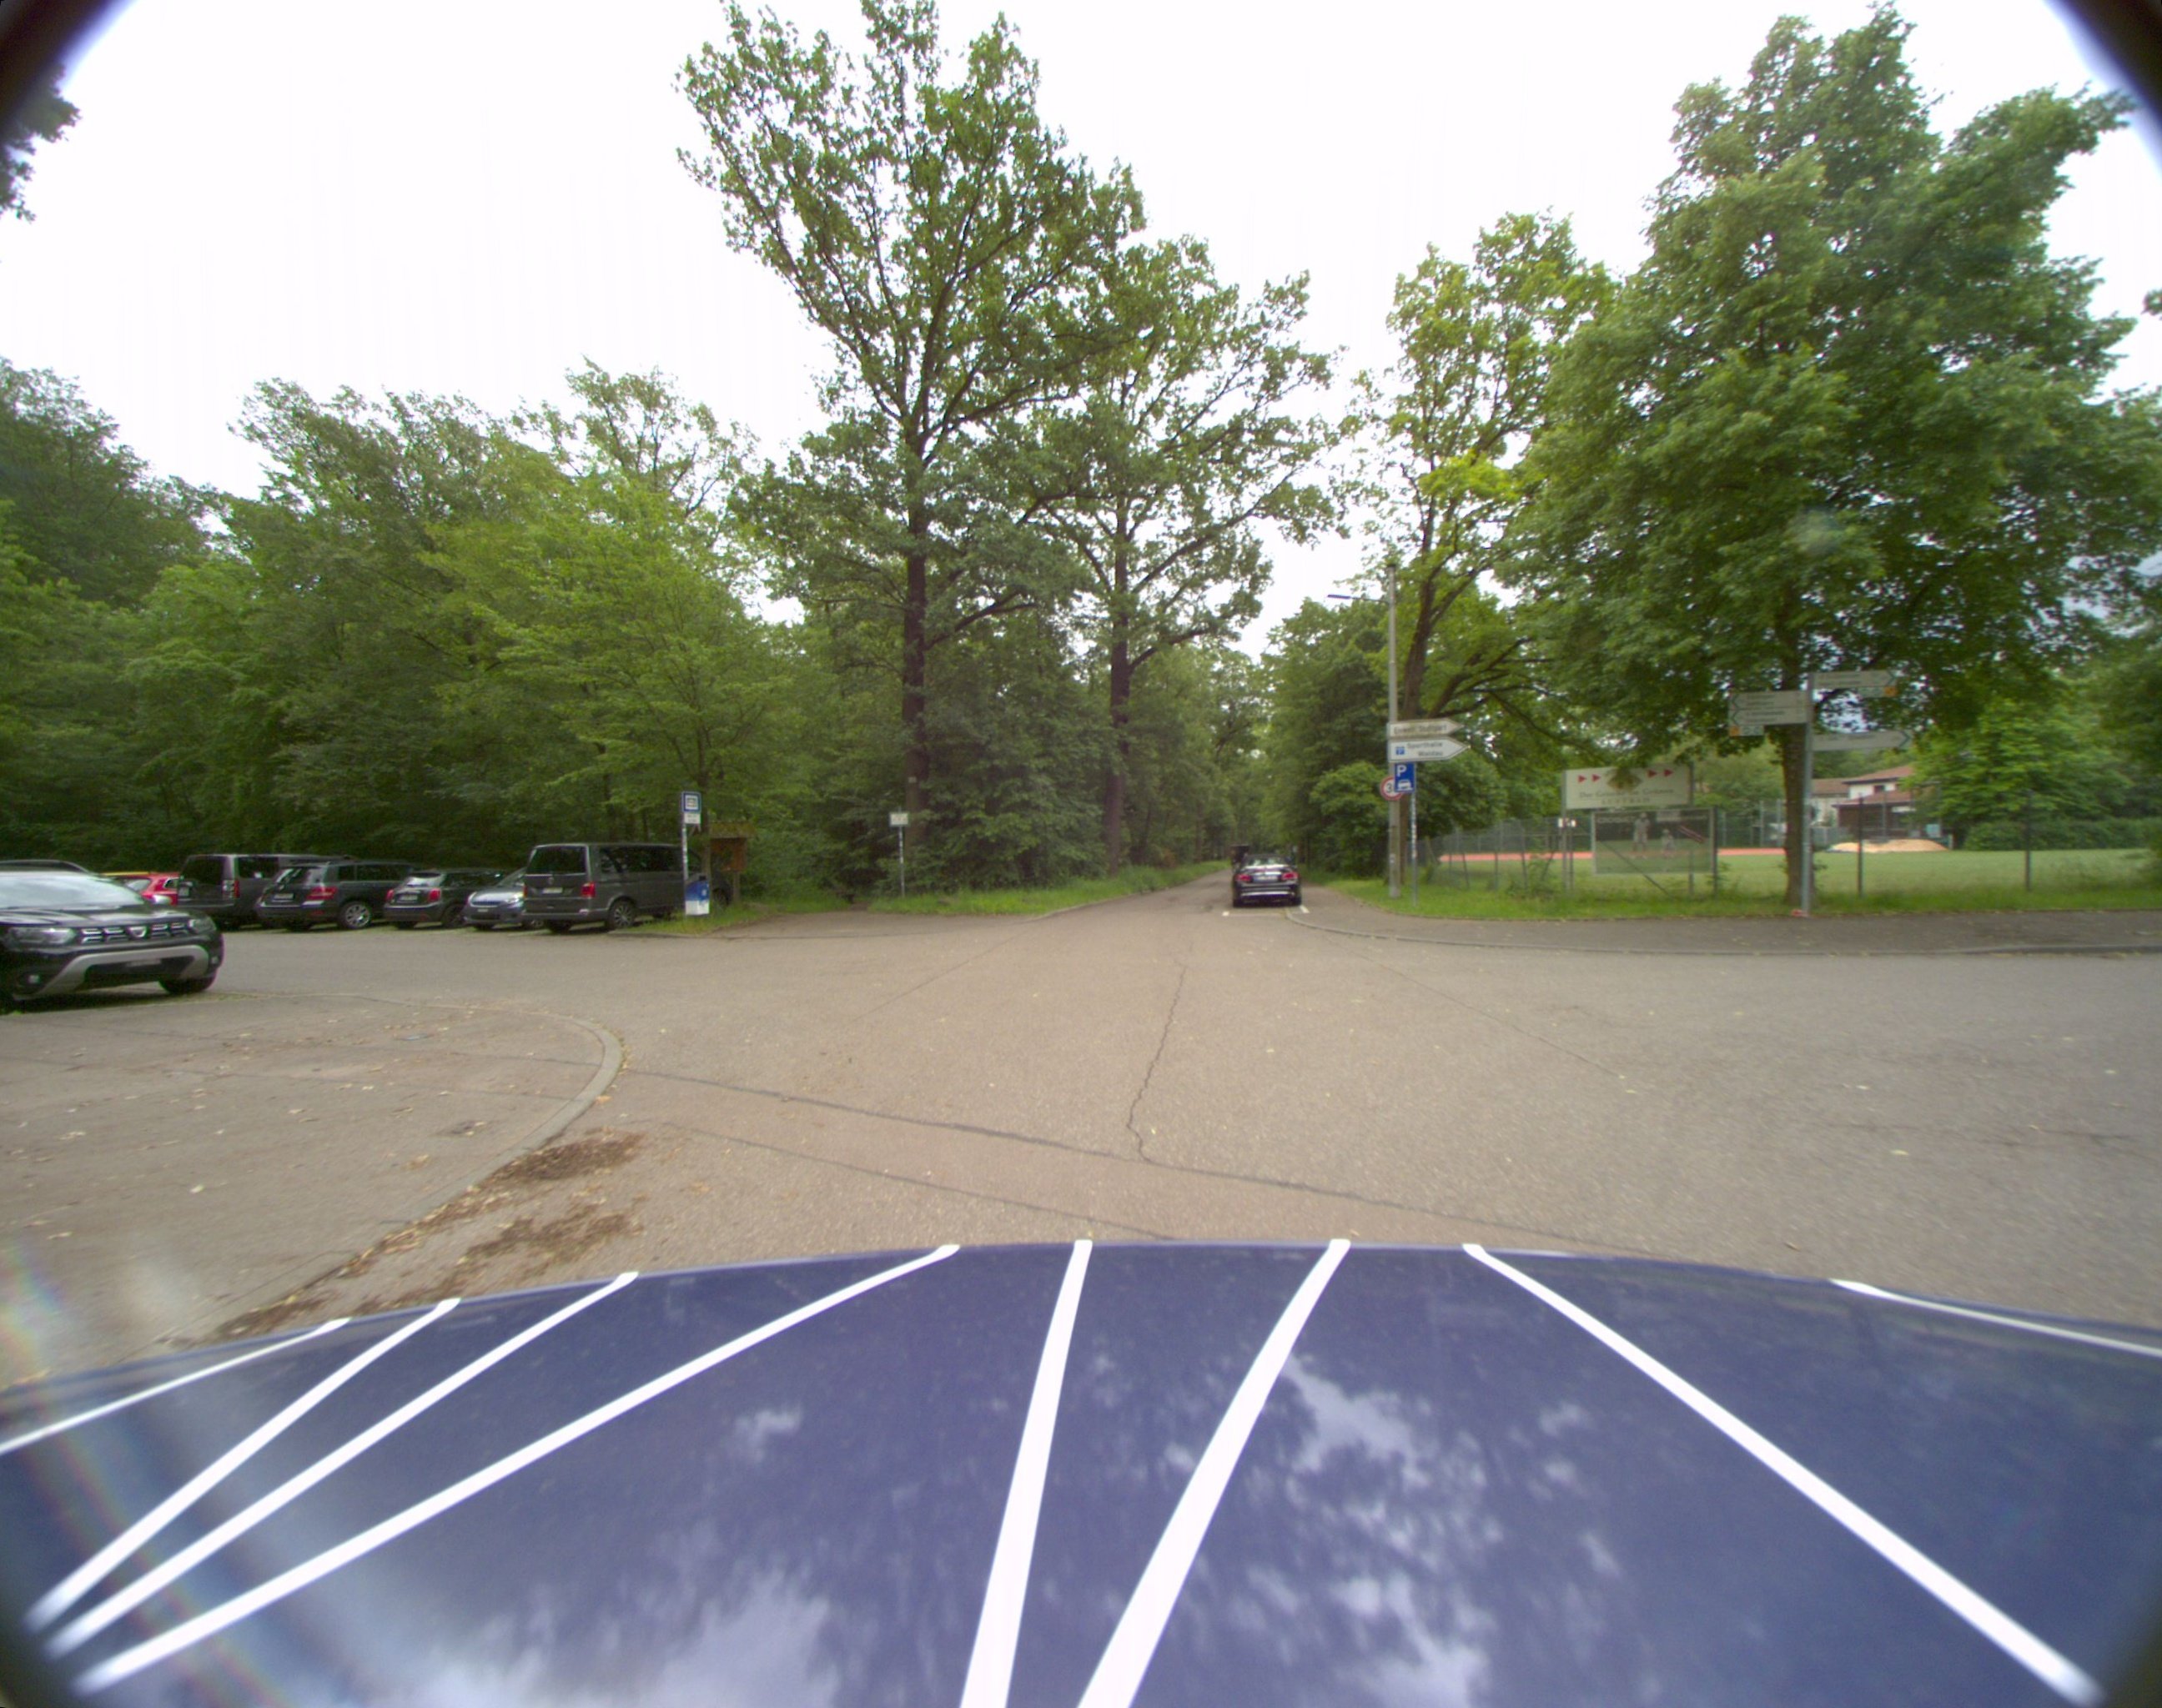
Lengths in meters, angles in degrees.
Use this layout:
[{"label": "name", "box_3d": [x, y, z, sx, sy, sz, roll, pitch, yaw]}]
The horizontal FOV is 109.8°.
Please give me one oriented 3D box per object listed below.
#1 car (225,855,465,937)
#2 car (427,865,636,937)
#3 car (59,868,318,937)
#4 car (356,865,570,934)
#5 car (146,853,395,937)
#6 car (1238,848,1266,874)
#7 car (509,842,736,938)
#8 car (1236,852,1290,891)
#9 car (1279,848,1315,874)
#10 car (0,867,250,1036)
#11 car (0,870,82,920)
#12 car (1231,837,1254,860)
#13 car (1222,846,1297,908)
[{"label": "car", "box_3d": [-18.361, 0.959, 19.266, 1.821, 1.756, 4.002, -1, 1, 9]}, {"label": "car", "box_3d": [-13.169, 1.071, 18.522, 1.806, 1.503, 3.831, -1, 0, 13]}, {"label": "car", "box_3d": [-23.142, 1.196, 19.968, 1.777, 1.467, 4.002, -1, 1, 9]}, {"label": "car", "box_3d": [-15.519, 1.079, 19.400, 1.718, 1.422, 4.003, -1, 1, 12]}, {"label": "car", "box_3d": [-20.748, 0.975, 19.734, 1.810, 1.852, 4.002, -1, 1, 11]}, {"label": "car", "box_3d": [11.434, 0.456, 50.994, 1.618, 1.583, 3.522, -2, 0, 10]}, {"label": "car", "box_3d": [-10.487, 0.748, 17.860, 1.887, 1.966, 4.522, -1, 0, 13]}, {"label": "car", "box_3d": [6.859, 0.663, 28.958, 1.689, 1.351, 4.224, -2, -1, 10]}, {"label": "car", "box_3d": [14.601, 0.444, 51.460, 1.956, 1.609, 3.642, 0, 1, 10]}, {"label": "car", "box_3d": [-12.338, 1.006, 8.786, 3.992, 1.624, 1.817, -1, 1, 11]}, {"label": "car", "box_3d": [-32.932, 1.264, 22.297, 1.712, 1.430, 4.003, -1, 0, 11]}, {"label": "car", "box_3d": [19.301, -0.689, 91.032, 2.577, 2.520, 4.939, -2, 1, 11]}, {"label": "car", "box_3d": [4.958, 0.616, 21.126, 1.769, 1.485, 4.332, -2, -1, 13]}]
